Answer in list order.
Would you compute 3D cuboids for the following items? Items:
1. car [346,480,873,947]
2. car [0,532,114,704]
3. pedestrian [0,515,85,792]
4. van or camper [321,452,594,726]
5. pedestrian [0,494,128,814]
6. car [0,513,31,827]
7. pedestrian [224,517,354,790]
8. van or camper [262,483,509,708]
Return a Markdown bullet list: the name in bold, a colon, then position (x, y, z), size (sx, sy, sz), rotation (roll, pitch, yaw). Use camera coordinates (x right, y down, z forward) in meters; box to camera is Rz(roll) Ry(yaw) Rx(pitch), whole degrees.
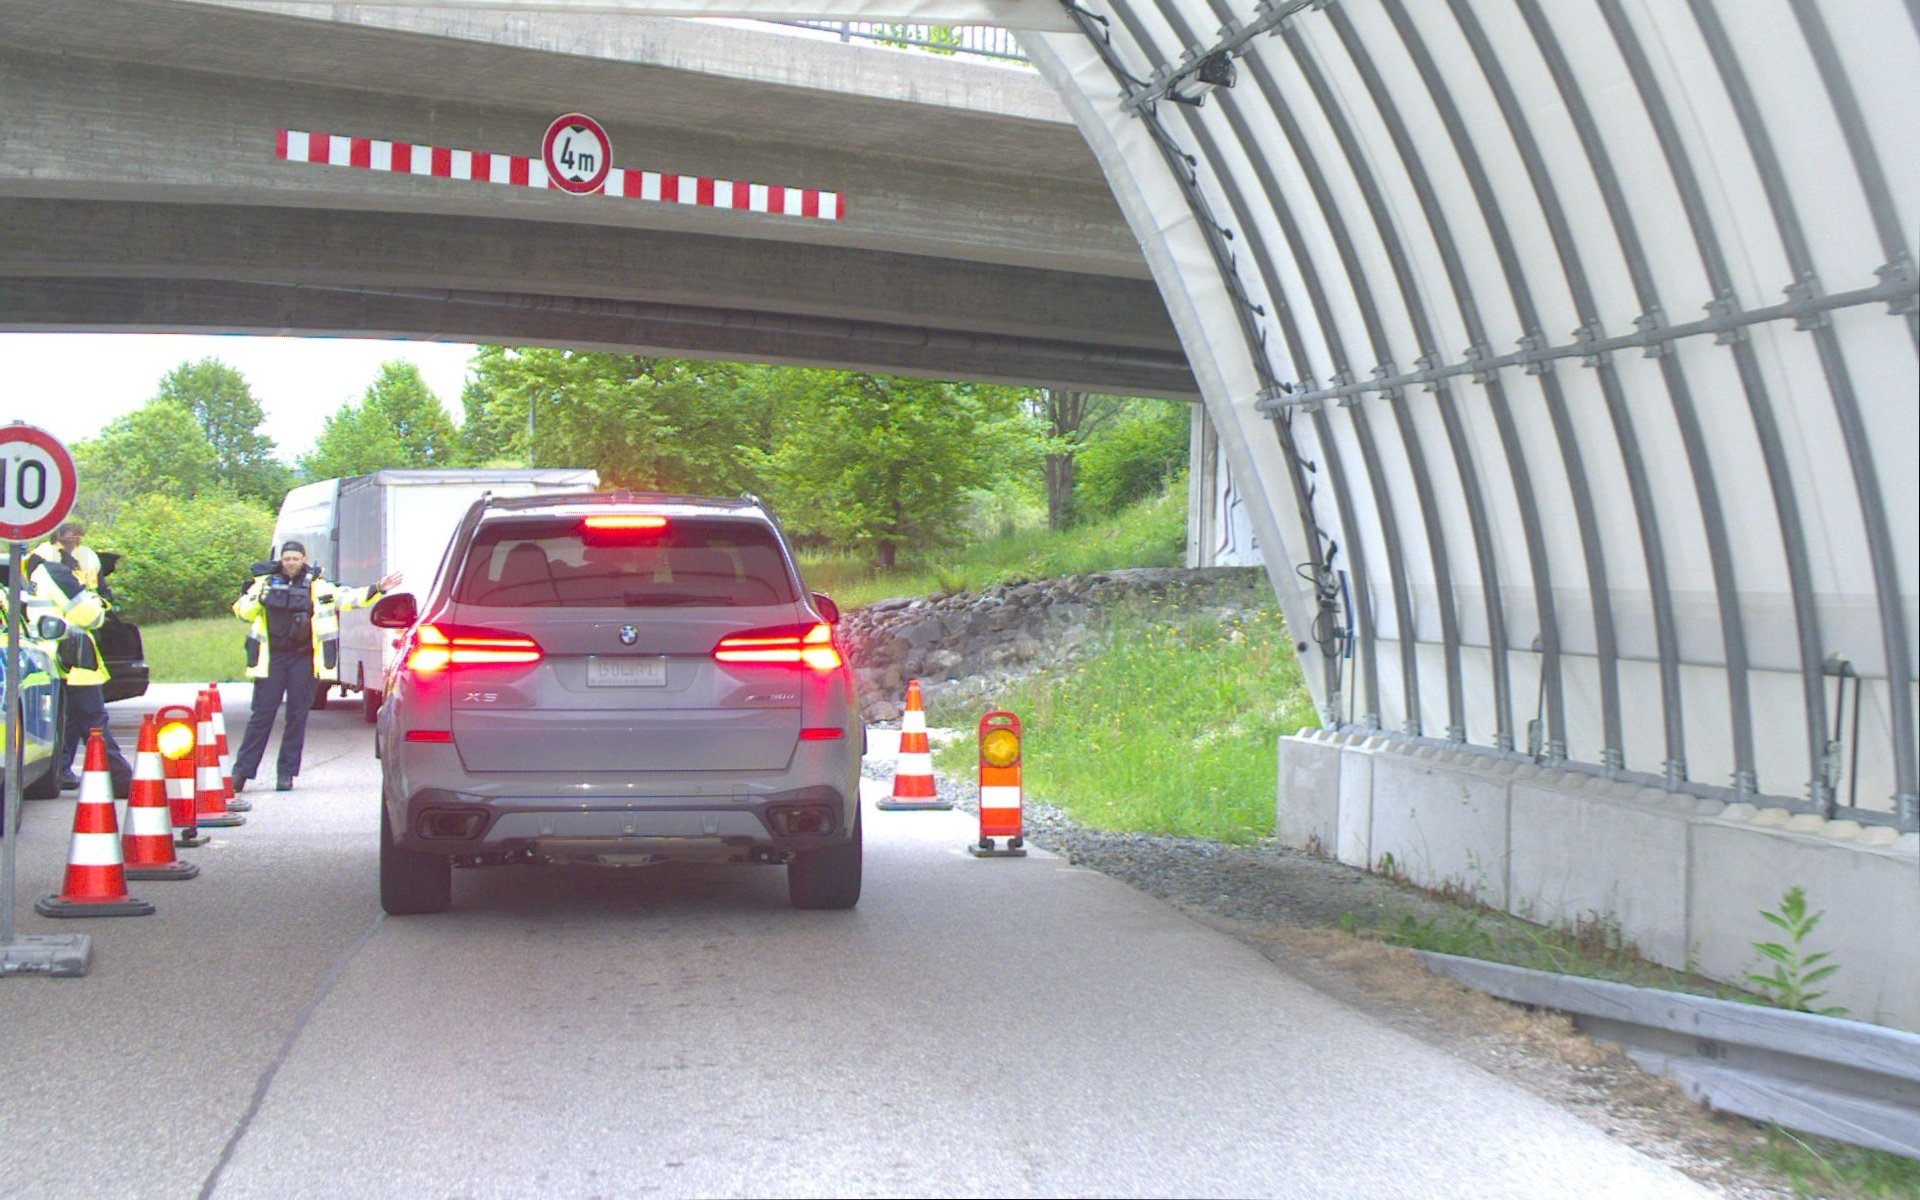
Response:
- **car**: position (-1.583, 0.409, 15.197), size (1.993, 1.759, 4.001), rotation (-1, 1, -7)
- **car**: position (-12.888, 0.215, 41.594), size (4.807, 2.007, 1.840), rotation (0, 0, 10)
- **pedestrian**: position (-6.022, 0.337, 22.139), size (0.609, 1.748, 0.666), rotation (-1, 0, -4)
- **van or camper**: position (-5.302, -0.139, 35.474), size (2.229, 2.543, 6.613), rotation (-1, 1, -13)
- **pedestrian**: position (-5.511, 0.319, 21.090), size (0.749, 1.912, 0.763), rotation (-1, 0, -13)
- **car**: position (-6.196, 0.363, 18.930), size (1.877, 1.641, 4.001), rotation (-1, 1, -12)
- **pedestrian**: position (-4.331, 0.332, 22.148), size (0.779, 1.716, 0.757), rotation (-1, 0, -12)
- **van or camper**: position (-6.989, -0.090, 41.320), size (2.103, 2.510, 5.553), rotation (-1, 1, -18)
